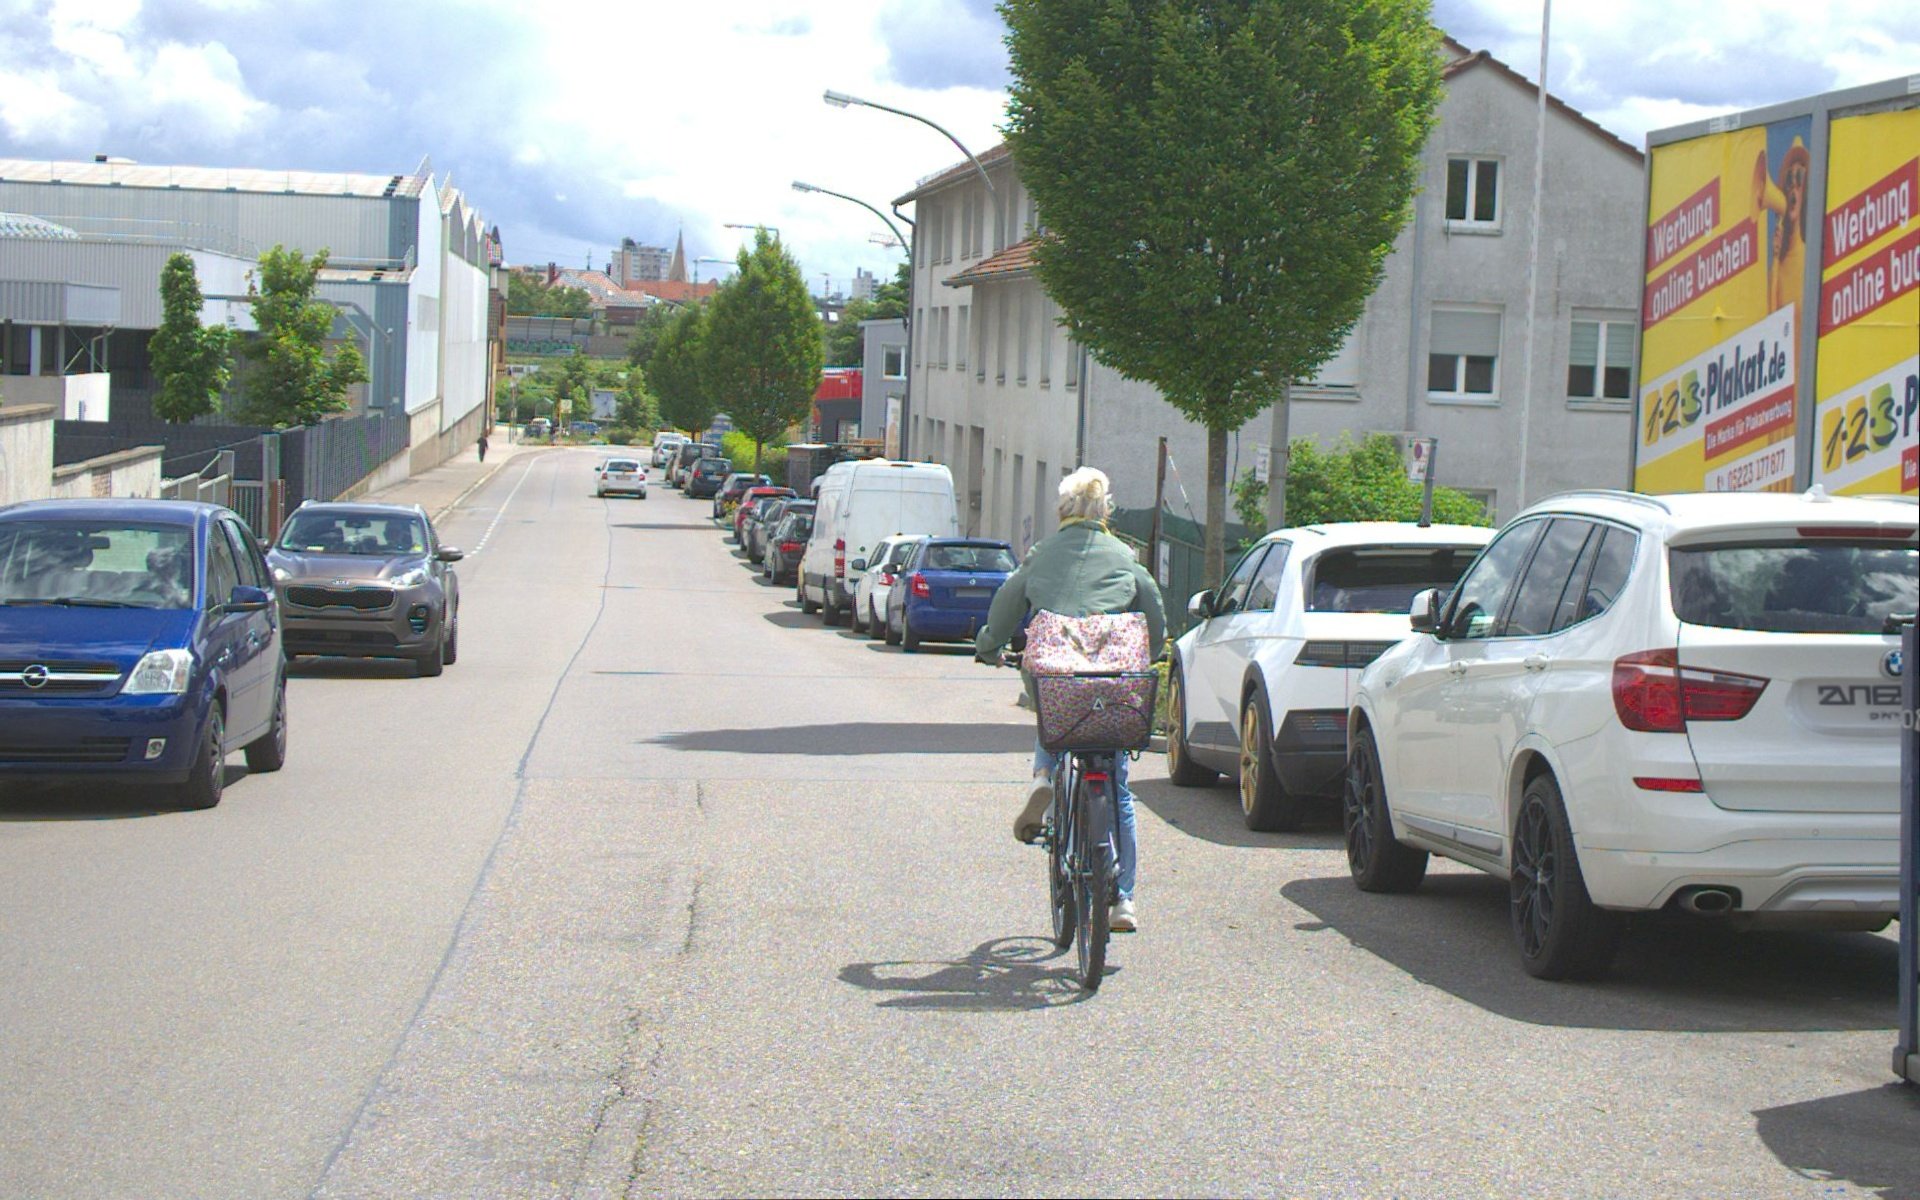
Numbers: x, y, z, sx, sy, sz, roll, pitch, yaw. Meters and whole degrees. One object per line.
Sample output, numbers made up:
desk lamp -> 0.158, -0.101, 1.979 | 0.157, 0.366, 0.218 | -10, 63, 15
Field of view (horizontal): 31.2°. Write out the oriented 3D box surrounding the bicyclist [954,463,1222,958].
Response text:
bicyclist -> 0.426, 0.363, 11.758 | 0.739, 1.621, 0.732 | 2, 1, -8

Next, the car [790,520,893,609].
car -> -2.188, -0.670, 62.478 | 1.592, 1.442, 3.791 | 2, 2, -5

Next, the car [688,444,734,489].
car -> -9.632, -5.166, 132.701 | 1.679, 1.632, 4.124 | 2, 3, -5

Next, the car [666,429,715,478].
car -> -11.575, -6.287, 147.426 | 1.869, 1.983, 5.145 | 2, 3, -7

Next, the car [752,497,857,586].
car -> -3.321, -1.266, 72.519 | 1.704, 1.504, 5.089 | 4, 3, -7

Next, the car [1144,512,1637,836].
car -> 2.203, 0.318, 18.831 | 1.841, 1.560, 4.466 | 0, 1, -4

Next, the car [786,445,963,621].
car -> -1.484, -1.107, 56.213 | 2.033, 2.632, 7.285 | 2, 1, -8

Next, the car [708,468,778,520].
car -> -6.722, -3.285, 106.260 | 1.791, 1.460, 4.710 | 2, 2, -8

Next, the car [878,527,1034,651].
car -> -0.098, -0.177, 45.391 | 1.566, 1.505, 4.095 | 2, 1, -7

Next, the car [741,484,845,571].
car -> -3.828, -1.680, 78.069 | 1.676, 1.632, 4.798 | 3, 3, -10

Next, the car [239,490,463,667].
car -> -5.918, -0.243, 33.802 | 1.799, 1.616, 4.094 | 1, 1, -5

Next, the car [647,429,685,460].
car -> -16.358, -8.666, 191.236 | 1.700, 1.522, 3.739 | 4, 3, -10

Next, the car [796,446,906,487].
car -> -4.033, -4.928, 126.755 | 1.721, 1.457, 4.073 | -4, 5, -44

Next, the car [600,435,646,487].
car -> -12.425, -5.092, 126.536 | 1.566, 1.780, 3.606 | 2, 1, -7

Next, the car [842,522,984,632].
car -> -0.722, -0.364, 50.200 | 1.592, 1.505, 3.791 | 2, 1, -8

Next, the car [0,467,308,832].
car -> -4.711, 0.208, 18.989 | 1.626, 1.811, 3.781 | 1, 1, -2

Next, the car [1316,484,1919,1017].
car -> 2.638, 0.435, 13.010 | 1.685, 1.653, 4.481 | 1, 1, -5

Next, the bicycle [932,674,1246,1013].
bicycle -> 0.406, 0.795, 11.788 | 0.740, 0.972, 1.733 | 2, 2, -8
